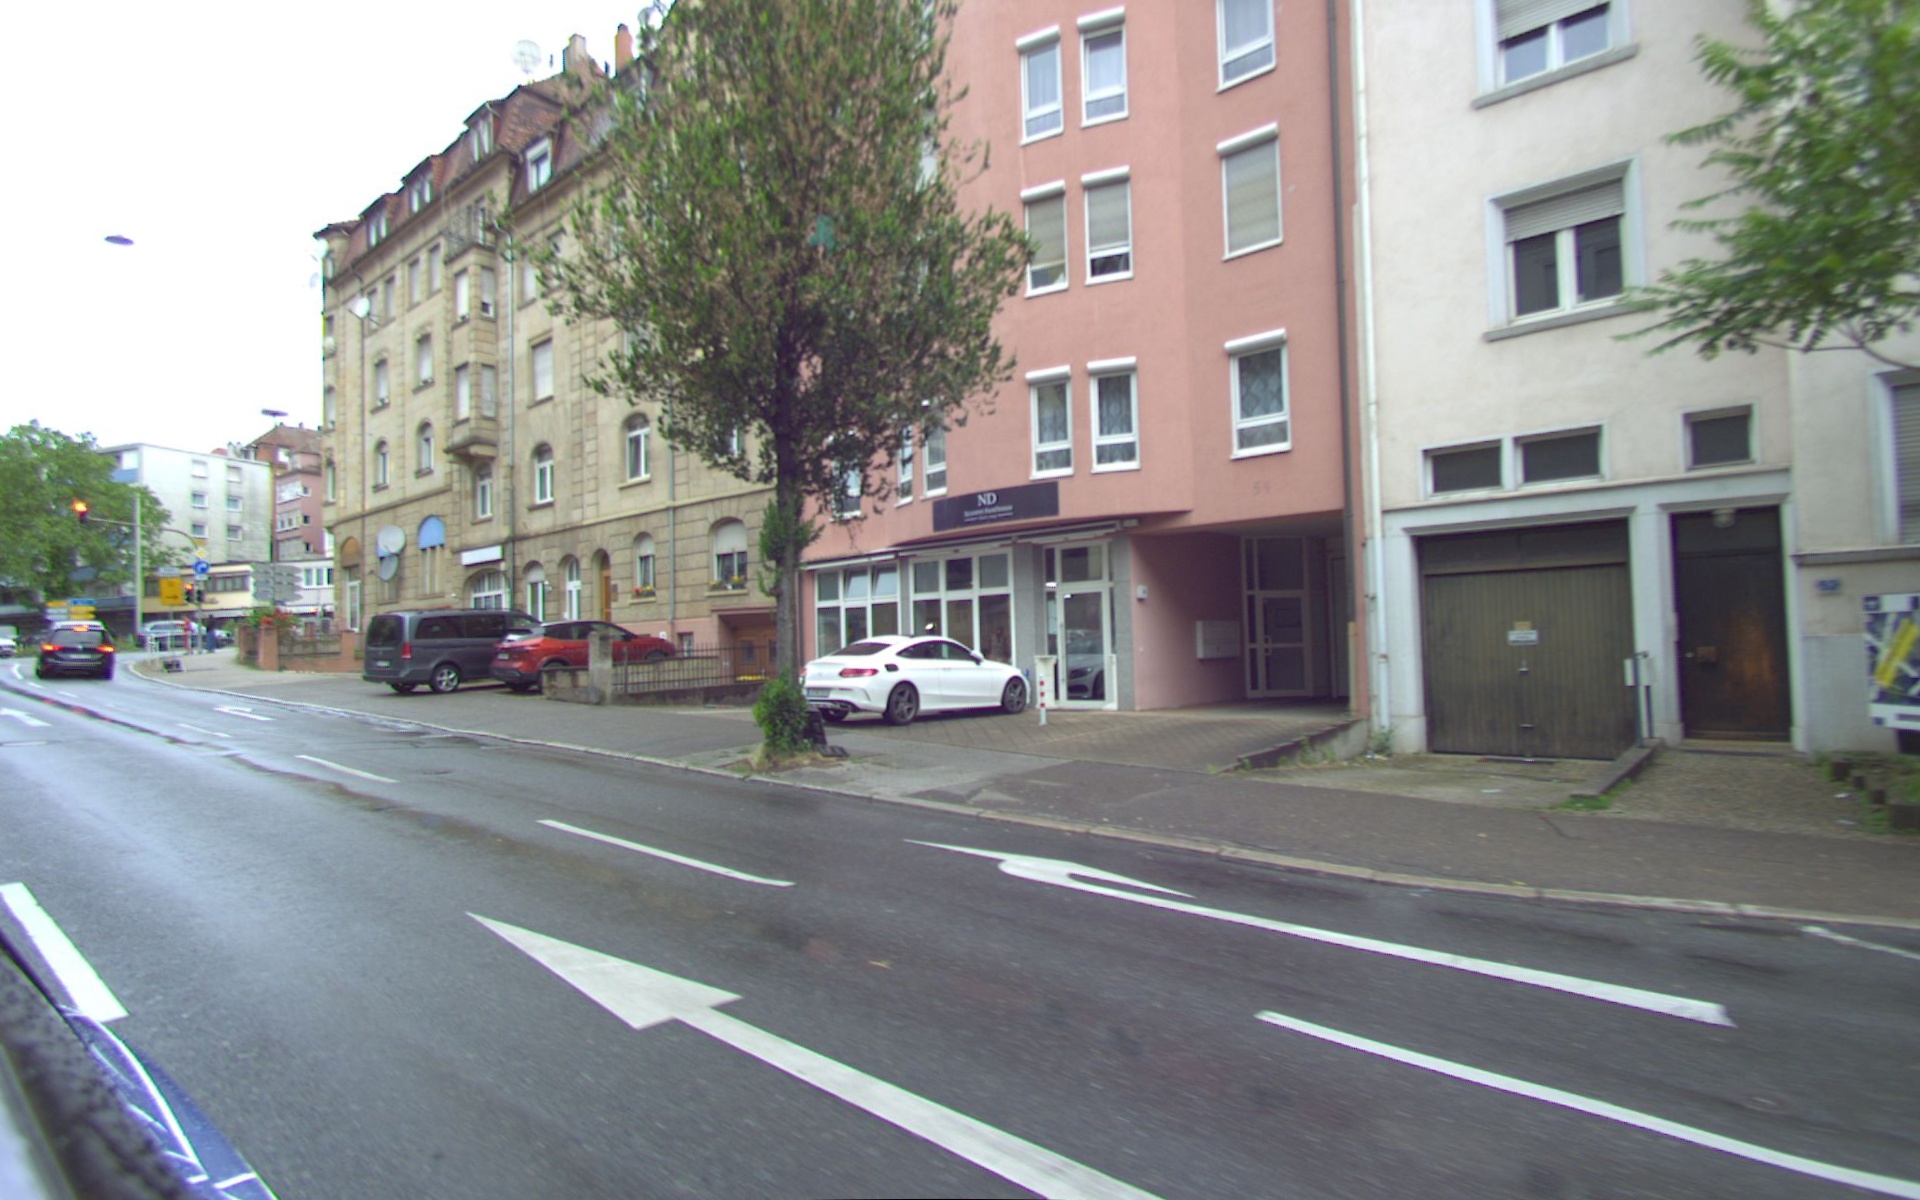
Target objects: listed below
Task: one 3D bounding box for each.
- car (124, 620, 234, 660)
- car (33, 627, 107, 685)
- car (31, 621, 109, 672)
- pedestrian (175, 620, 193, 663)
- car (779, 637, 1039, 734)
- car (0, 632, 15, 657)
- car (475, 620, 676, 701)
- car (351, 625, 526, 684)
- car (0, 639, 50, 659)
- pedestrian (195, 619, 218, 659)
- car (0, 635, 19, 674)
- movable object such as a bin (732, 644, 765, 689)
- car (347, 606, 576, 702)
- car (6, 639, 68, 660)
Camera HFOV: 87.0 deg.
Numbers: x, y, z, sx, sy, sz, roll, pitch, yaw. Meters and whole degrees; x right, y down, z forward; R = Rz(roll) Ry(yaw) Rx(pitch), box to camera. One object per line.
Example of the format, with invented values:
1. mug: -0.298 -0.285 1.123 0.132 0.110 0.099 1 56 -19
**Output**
1. car: -43.348 2.177 56.308 4.432 2.029 1.922 -1 0 -20
2. car: -27.774 1.714 31.647 1.601 1.662 4.426 2 -3 -41
3. car: -33.275 1.671 37.940 1.940 1.706 4.817 0 0 -39
4. pedestrian: -33.064 1.751 43.138 0.516 1.787 0.694 -2 0 -43
5. car: -0.701 1.336 16.988 1.766 1.412 4.500 -2 -3 40
6. car: -81.065 3.747 83.040 1.861 1.992 4.957 -1 0 12
7. car: -9.055 1.353 24.061 1.896 1.602 4.055 -1 1 40
8. car: -14.938 1.517 29.154 1.872 1.522 4.104 -2 -2 41
9. car: -76.269 3.974 81.866 1.790 1.426 3.697 -1 0 7
10. pedestrian: -33.425 1.727 44.897 0.829 1.715 0.629 -2 0 43
11. car: -53.144 2.991 54.052 4.403 2.029 1.912 -2 0 8
12. movable object such as a bin: -4.937 1.536 23.614 0.526 1.004 0.551 -1 0 -44
13. car: -11.815 1.209 24.323 1.857 1.953 4.640 -2 0 31
14. car: -74.123 3.954 81.314 1.609 1.426 3.619 -1 0 3
